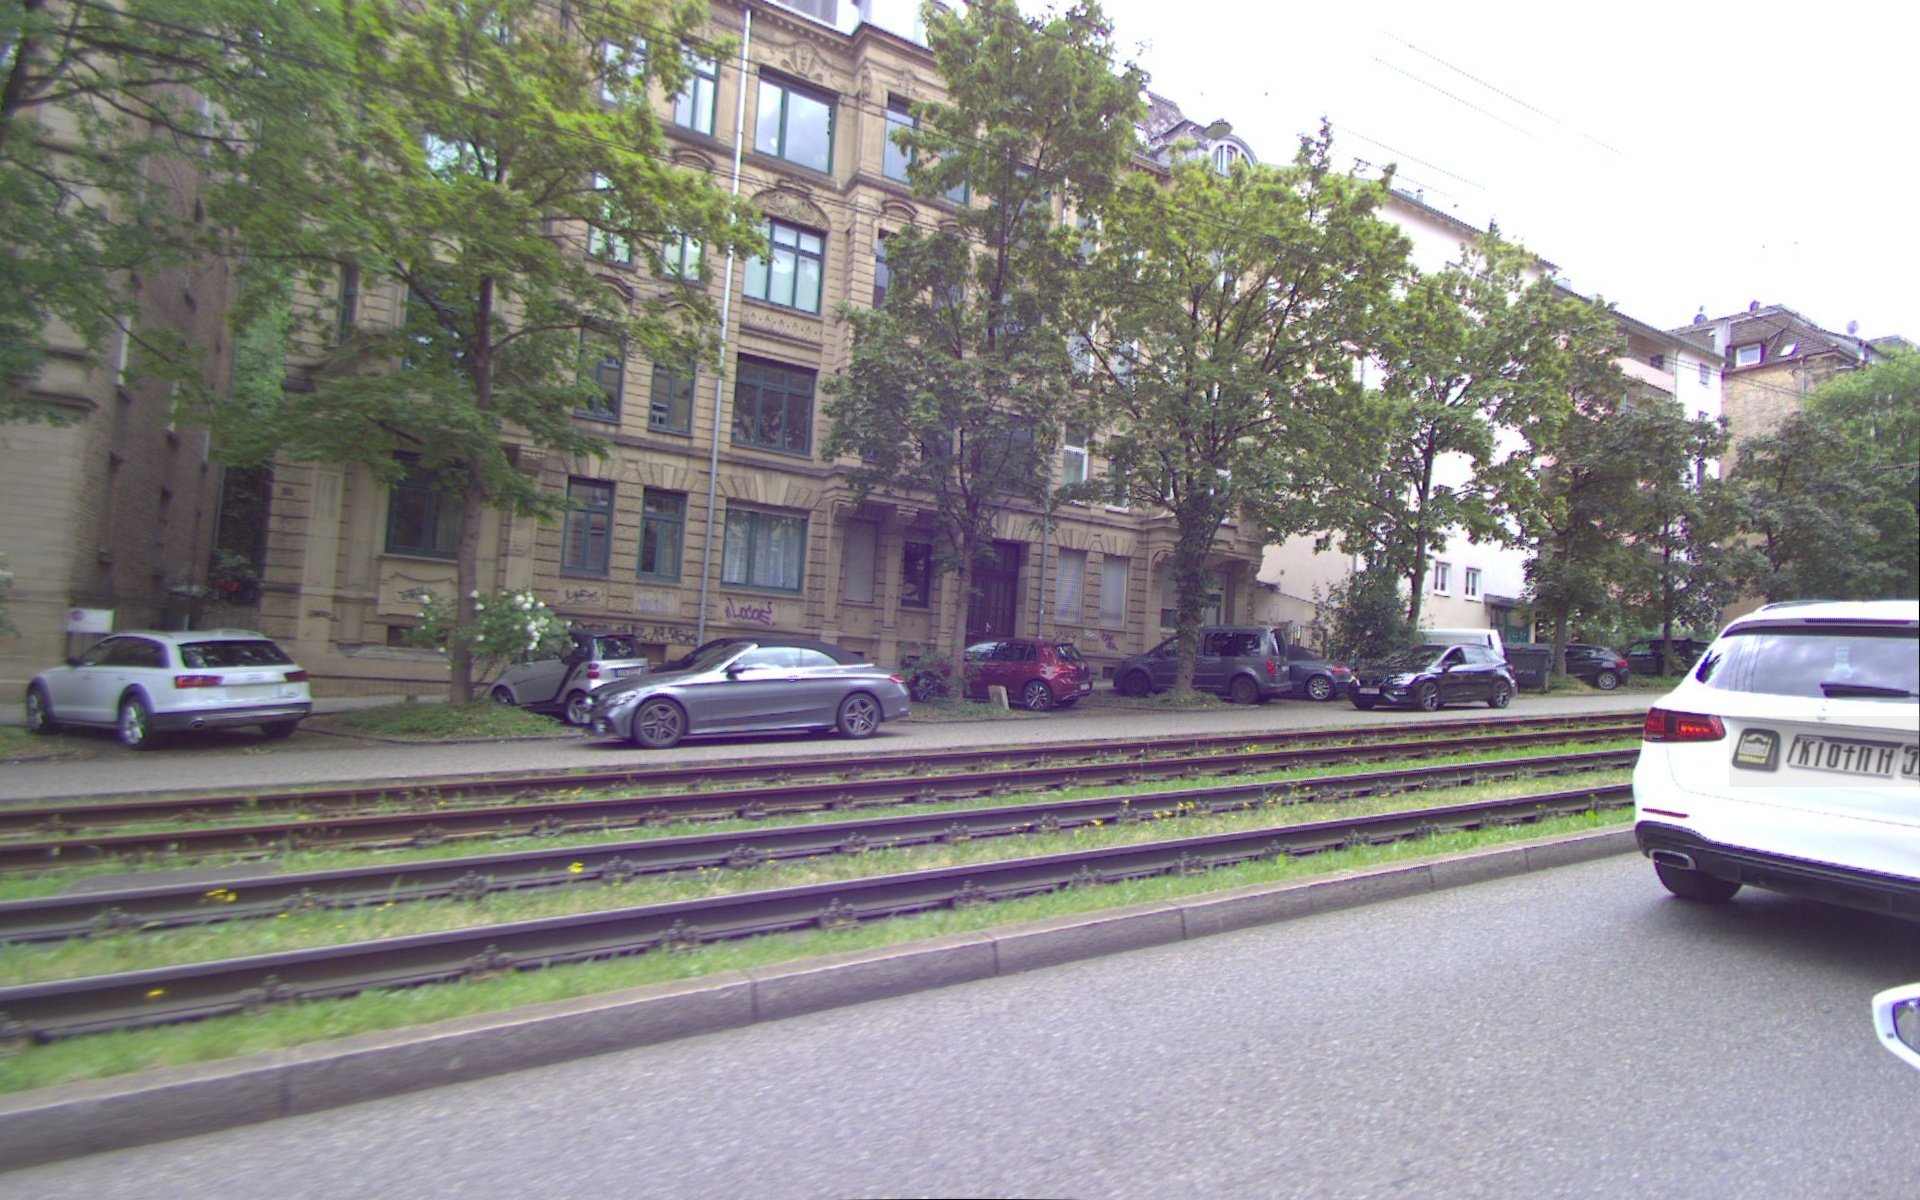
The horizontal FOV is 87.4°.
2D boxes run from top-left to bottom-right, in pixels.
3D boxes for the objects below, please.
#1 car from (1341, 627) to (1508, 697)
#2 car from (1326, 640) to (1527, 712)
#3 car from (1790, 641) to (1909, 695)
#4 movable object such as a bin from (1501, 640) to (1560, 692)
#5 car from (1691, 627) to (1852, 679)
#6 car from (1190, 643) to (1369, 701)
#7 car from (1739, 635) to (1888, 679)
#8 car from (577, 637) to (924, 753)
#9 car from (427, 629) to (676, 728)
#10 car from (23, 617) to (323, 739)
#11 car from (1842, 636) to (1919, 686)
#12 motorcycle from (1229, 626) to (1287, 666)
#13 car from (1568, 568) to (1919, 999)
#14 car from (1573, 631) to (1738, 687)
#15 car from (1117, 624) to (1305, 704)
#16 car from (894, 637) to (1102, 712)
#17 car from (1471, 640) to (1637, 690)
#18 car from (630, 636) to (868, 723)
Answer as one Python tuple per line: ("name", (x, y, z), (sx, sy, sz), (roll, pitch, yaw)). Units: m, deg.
("car", (13.290, 1.731, 28.787), (4.121, 1.860, 1.867), (-1, -2, 34))
("car", (10.349, 1.668, 22.214), (4.442, 1.454, 1.857), (2, -5, -31))
("car", (25.237, 1.904, 28.487), (3.374, 1.454, 1.580), (1, -4, -31))
("movable object such as a bin", (16.628, 1.902, 29.287), (1.261, 1.419, 1.090), (0, -2, 45))
("car", (31.934, 2.059, 39.685), (4.514, 1.821, 1.937), (1, -1, 14))
("car", (8.247, 1.804, 26.018), (4.117, 1.357, 1.868), (-1, -2, 31))
("car", (36.599, 2.432, 43.255), (4.521, 1.639, 1.934), (1, -1, 27))
("car", (-2.908, 1.268, 14.292), (4.543, 1.428, 1.717), (2, -4, -30))
("car", (-7.310, 1.330, 17.969), (4.113, 1.594, 1.870), (-1, -2, 27))
("car", (-11.000, 1.089, 14.015), (4.080, 1.488, 1.784), (-3, -4, 28))
("car", (33.425, 2.135, 35.604), (4.555, 1.671, 1.908), (1, -4, -31))
("motorcycle", (10.952, 1.677, 37.002), (0.759, 1.436, 2.167), (1, -2, -28))
("car", (5.557, 0.784, 5.483), (4.615, 1.689, 1.827), (2, -1, -30))
("car", (24.288, 2.035, 35.292), (4.522, 1.704, 1.934), (1, -1, 27))
("car", (6.104, 1.507, 24.545), (4.117, 1.791, 1.868), (-1, -2, 31))
("car", (0.795, 1.545, 21.718), (4.117, 1.454, 1.868), (-1, -2, 31))
("car", (19.275, 2.086, 32.840), (4.522, 1.362, 1.934), (1, -1, 27))
("car", (-3.976, 1.427, 18.943), (4.113, 1.454, 1.870), (-1, -2, 26))
